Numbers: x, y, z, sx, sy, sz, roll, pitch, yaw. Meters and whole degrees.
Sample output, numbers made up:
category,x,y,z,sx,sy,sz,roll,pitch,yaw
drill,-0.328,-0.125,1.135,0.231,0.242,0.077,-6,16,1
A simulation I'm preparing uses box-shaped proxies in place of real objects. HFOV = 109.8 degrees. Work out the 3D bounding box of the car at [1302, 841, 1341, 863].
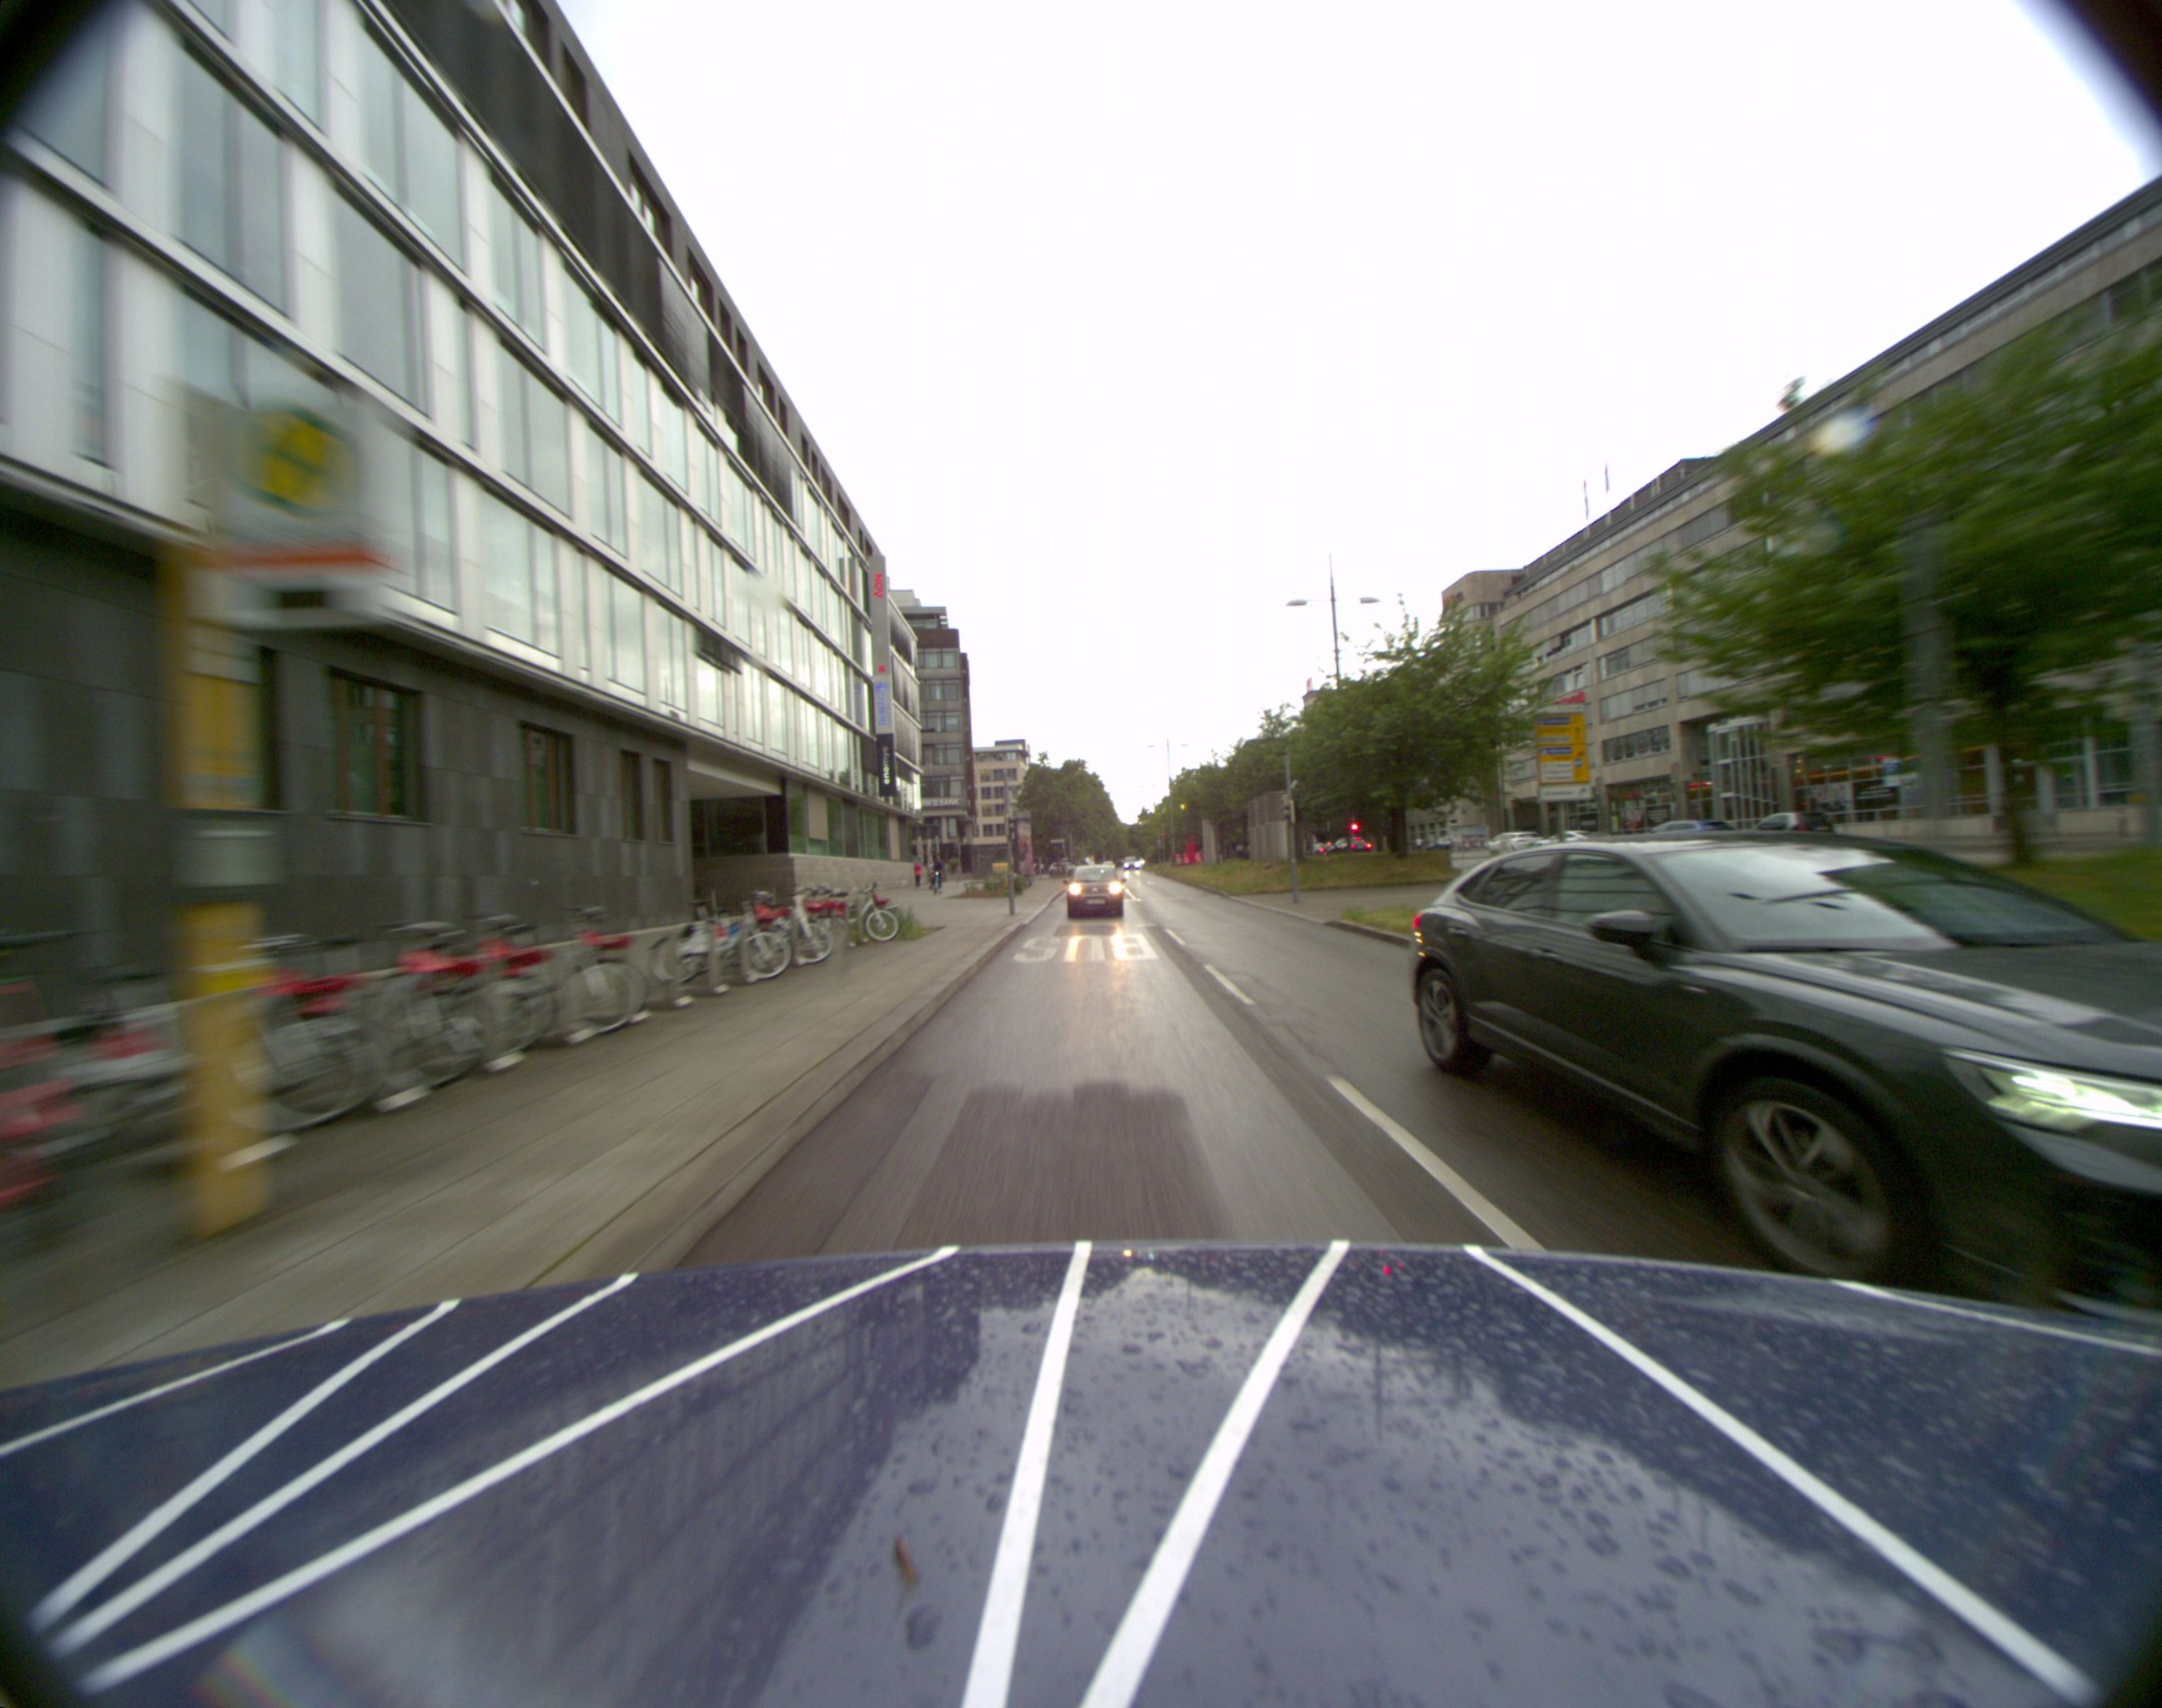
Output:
category,x,y,z,sx,sy,sz,roll,pitch,yaw
car,19.781,-0.144,62.629,1.880,1.571,4.107,-5,0,1

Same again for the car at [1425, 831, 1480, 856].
category,x,y,z,sx,sy,sz,roll,pitch,yaw
car,26.798,-0.702,54.953,1.575,1.571,4.106,-5,0,-4

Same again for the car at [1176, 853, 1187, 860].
category,x,y,z,sx,sy,sz,roll,pitch,yaw
car,23.736,0.534,179.878,2.072,1.578,4.107,-5,0,1

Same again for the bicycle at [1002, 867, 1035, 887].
category,x,y,z,sx,sy,sz,roll,pitch,yaw
bicycle,-3.699,1.338,44.943,1.876,1.103,0.670,-2,0,1

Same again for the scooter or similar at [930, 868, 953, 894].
category,x,y,z,sx,sy,sz,roll,pitch,yaw
scooter or similar,-7.161,1.381,39.105,0.779,1.298,1.335,-3,0,4

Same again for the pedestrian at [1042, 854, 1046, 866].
category,x,y,z,sx,sy,sz,roll,pitch,yaw
pedestrian,-5.199,0.852,107.852,0.452,1.692,0.547,-2,1,2

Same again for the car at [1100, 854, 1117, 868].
category,x,y,z,sx,sy,sz,roll,pitch,yaw
car,3.562,0.912,99.653,2.072,1.578,4.107,-5,0,1

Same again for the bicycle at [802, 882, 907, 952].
category,x,y,z,sx,sy,sz,roll,pitch,yaw
bicycle,-4.228,1.167,14.271,1.735,1.176,0.689,-2,0,-6

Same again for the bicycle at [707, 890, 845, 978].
category,x,y,z,sx,sy,sz,roll,pitch,yaw
bicycle,-4.514,1.168,11.343,1.735,1.176,0.689,-2,0,-6

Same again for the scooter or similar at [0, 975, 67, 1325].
category,x,y,z,sx,sy,sz,roll,pitch,yaw
scooter or similar,-4.500,1.119,2.738,1.063,1.251,0.302,-3,2,-6

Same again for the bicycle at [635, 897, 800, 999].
category,x,y,z,sx,sy,sz,roll,pitch,yaw
bicycle,-4.614,1.178,9.746,1.735,1.133,0.689,-2,0,-6

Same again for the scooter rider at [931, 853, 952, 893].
category,x,y,z,sx,sy,sz,roll,pitch,yaw
scooter rider,-7.169,0.987,39.179,0.779,2.009,0.924,-3,0,4

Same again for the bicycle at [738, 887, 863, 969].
category,x,y,z,sx,sy,sz,roll,pitch,yaw
bicycle,-4.500,1.175,12.291,1.735,1.176,0.689,-2,0,-6

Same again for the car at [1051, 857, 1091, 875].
category,x,y,z,sx,sy,sz,roll,pitch,yaw
car,-1.233,1.439,90.592,4.202,1.801,2.003,-5,0,35

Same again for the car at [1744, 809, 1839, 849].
category,x,y,z,sx,sy,sz,roll,pitch,yaw
car,28.088,-0.967,30.123,1.243,1.377,2.627,-5,0,0

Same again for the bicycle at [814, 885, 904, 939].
category,x,y,z,sx,sy,sz,roll,pitch,yaw
bicycle,-4.776,1.239,16.423,1.735,1.064,0.689,-2,0,-6

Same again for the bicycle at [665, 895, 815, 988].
category,x,y,z,sx,sy,sz,roll,pitch,yaw
bicycle,-4.701,1.191,10.568,1.735,1.133,0.689,-2,0,-6

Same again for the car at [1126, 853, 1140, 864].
category,x,y,z,sx,sy,sz,roll,pitch,yaw
car,7.021,0.576,102.745,1.605,1.377,3.020,-5,0,0

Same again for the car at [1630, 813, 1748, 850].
category,x,y,z,sx,sy,sz,roll,pitch,yaw
car,27.902,-0.984,35.071,1.680,1.377,4.319,-5,0,-4

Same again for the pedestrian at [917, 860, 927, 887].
category,x,y,z,sx,sy,sz,roll,pitch,yaw
pedestrian,-10.213,1.241,48.883,0.485,1.689,0.579,-2,0,-1

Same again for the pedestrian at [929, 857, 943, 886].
category,x,y,z,sx,sy,sz,roll,pitch,yaw
pedestrian,-9.350,1.145,48.930,0.723,1.820,0.747,-2,0,-1

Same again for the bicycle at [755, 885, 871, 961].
category,x,y,z,sx,sy,sz,roll,pitch,yaw
bicycle,-4.605,1.176,13.158,1.735,1.176,0.689,-2,0,-6

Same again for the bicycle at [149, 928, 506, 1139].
category,x,y,z,sx,sy,sz,roll,pitch,yaw
bicycle,-4.924,1.141,5.069,1.539,1.134,0.689,-3,1,-6

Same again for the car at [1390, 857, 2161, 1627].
category,x,y,z,sx,sy,sz,roll,pitch,yaw
car,3.240,0.827,3.568,1.865,1.509,4.346,-3,0,2

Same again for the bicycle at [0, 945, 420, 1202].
category,x,y,z,sx,sy,sz,roll,pitch,yaw
bicycle,-4.837,1.168,4.263,1.539,1.134,0.662,-3,1,-6

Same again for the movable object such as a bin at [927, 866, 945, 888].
category,x,y,z,sx,sy,sz,roll,pitch,yaw
movable object such as a bin,-9.107,1.426,47.673,0.804,1.258,1.788,-2,0,-1

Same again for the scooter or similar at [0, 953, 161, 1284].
category,x,y,z,sx,sy,sz,roll,pitch,yaw
scooter or similar,-4.598,1.084,3.099,1.109,1.251,0.302,-3,2,-6

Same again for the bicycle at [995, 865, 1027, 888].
category,x,y,z,sx,sy,sz,roll,pitch,yaw
bicycle,-3.973,1.277,43.074,1.797,1.199,0.669,-2,0,-6

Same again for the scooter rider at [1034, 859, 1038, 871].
category,x,y,z,sx,sy,sz,roll,pitch,yaw
scooter rider,-7.393,1.852,125.385,0.627,2.013,0.854,-3,0,-2

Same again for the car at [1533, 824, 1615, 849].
category,x,y,z,sx,sy,sz,roll,pitch,yaw
car,26.984,-0.911,41.739,1.575,1.116,4.106,-5,0,-4

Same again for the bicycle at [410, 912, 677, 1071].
category,x,y,z,sx,sy,sz,roll,pitch,yaw
bicycle,-4.603,1.153,6.615,1.711,1.134,0.689,-3,1,-6

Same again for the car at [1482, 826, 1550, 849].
category,x,y,z,sx,sy,sz,roll,pitch,yaw
car,26.858,-0.993,47.067,1.575,1.116,4.106,-5,0,-4

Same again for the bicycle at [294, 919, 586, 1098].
category,x,y,z,sx,sy,sz,roll,pitch,yaw
bicycle,-4.863,1.146,5.861,1.539,1.134,0.689,-3,1,-6

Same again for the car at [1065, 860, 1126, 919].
category,x,y,z,sx,sy,sz,roll,pitch,yaw
car,0.452,0.987,22.671,1.594,1.501,3.709,-3,0,2

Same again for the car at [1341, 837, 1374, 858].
category,x,y,z,sx,sy,sz,roll,pitch,yaw
car,20.167,-0.440,55.500,1.411,1.377,2.627,-5,0,0
